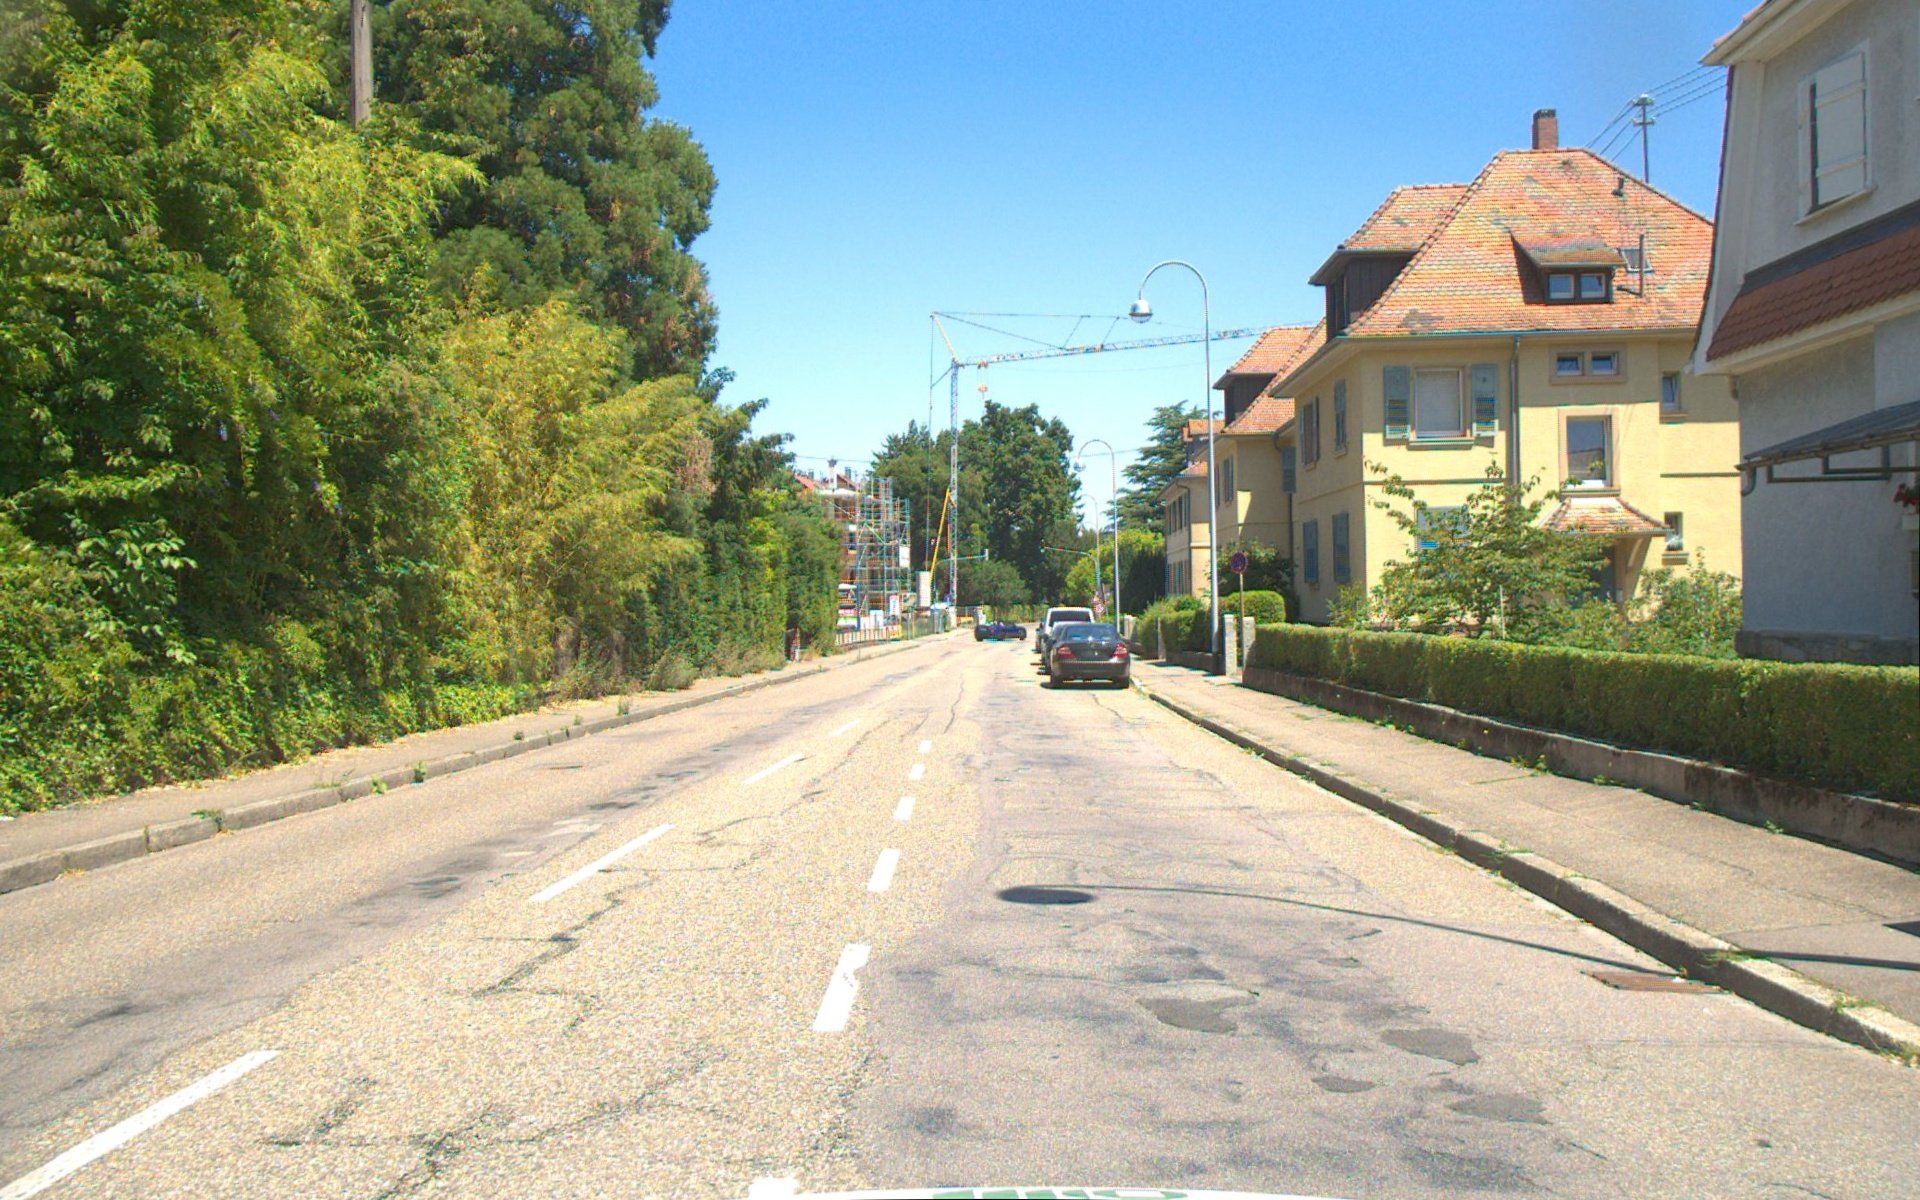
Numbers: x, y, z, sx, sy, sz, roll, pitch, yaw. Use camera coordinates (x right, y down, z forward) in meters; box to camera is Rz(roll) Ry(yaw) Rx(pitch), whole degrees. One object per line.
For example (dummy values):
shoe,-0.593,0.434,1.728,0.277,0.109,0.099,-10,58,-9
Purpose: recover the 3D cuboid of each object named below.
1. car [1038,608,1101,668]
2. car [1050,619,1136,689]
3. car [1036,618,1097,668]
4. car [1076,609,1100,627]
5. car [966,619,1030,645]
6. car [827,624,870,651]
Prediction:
car,3.734,1.276,57.020,1.952,1.934,4.823,1,-1,2
car,2.921,1.180,37.145,1.658,1.444,4.551,-1,-1,1
car,3.294,1.324,51.724,1.725,1.477,3.649,-1,-1,1
car,12.293,1.703,158.745,1.951,1.691,4.003,-2,-1,9
car,2.483,2.073,107.445,1.932,1.494,3.973,-2,1,44
car,-6.122,2.028,90.802,1.624,1.413,3.537,-2,-1,8
